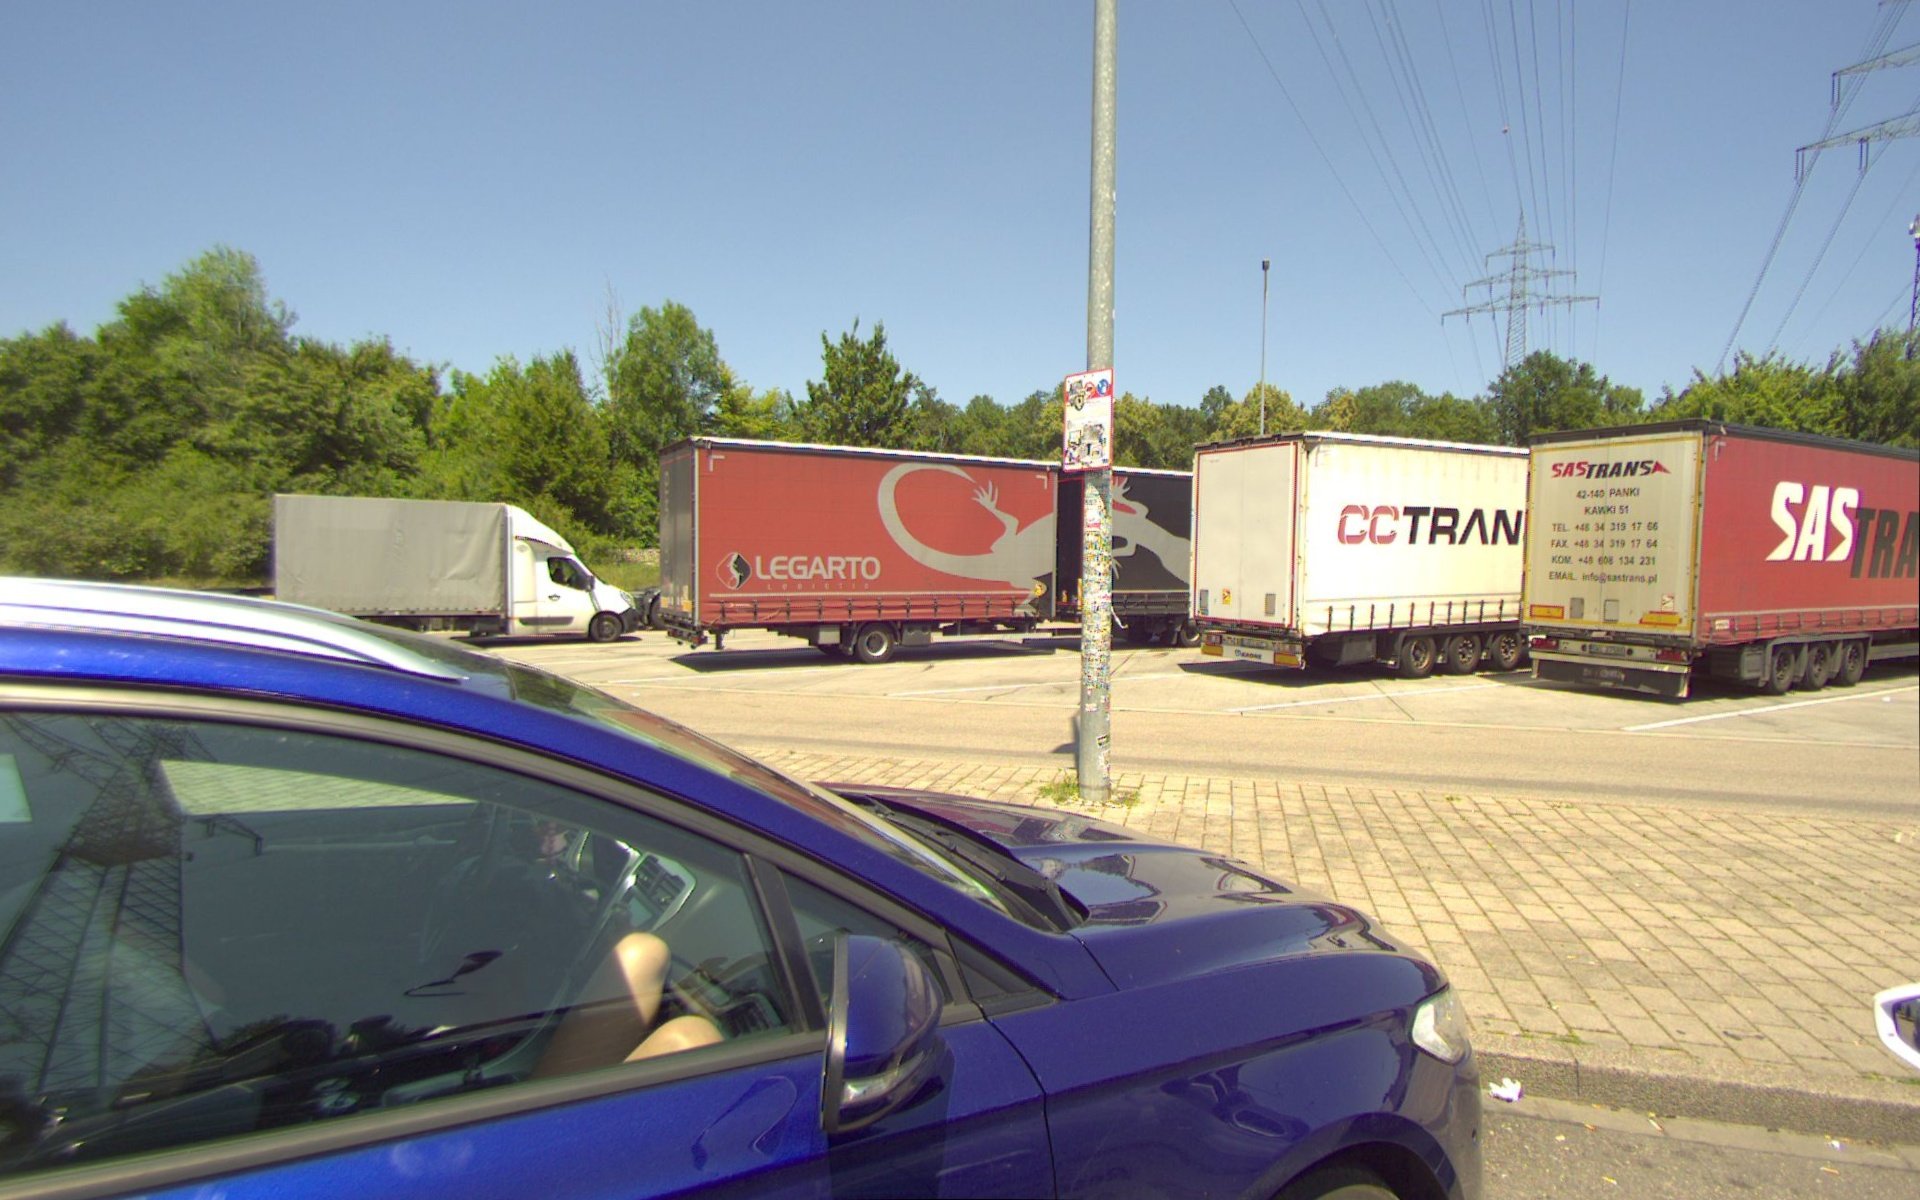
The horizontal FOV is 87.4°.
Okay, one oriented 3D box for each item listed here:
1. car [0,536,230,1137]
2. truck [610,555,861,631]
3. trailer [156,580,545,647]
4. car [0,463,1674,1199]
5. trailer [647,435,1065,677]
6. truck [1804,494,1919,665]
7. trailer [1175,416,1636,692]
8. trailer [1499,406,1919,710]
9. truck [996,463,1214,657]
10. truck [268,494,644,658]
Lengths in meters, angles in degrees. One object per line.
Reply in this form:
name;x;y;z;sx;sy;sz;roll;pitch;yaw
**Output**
car;-4.549;0.584;2.252;4.592;1.554;1.726;0;1;-33
truck;-6.481;-0.184;29.522;6.961;2.040;1.984;0;0;-30
trailer;-14.829;0.245;25.182;7.996;1.394;2.211;-1;3;-30
car;-0.976;0.656;1.468;4.592;1.502;1.727;0;0;-33
trailer;-1.924;-0.845;20.263;7.996;4.101;2.696;-1;3;-30
truck;21.729;-0.457;22.307;5.418;3.475;2.838;-1;3;-30
trailer;8.869;-0.838;19.325;10.049;4.268;2.714;-1;3;-30
trailer;15.408;-0.722;18.561;13.559;4.189;2.892;-1;3;-30
truck;3.358;-0.923;23.358;4.273;4.072;2.689;-1;3;-30
truck;-11.200;-0.586;22.899;7.254;3.254;2.515;-1;3;-30
